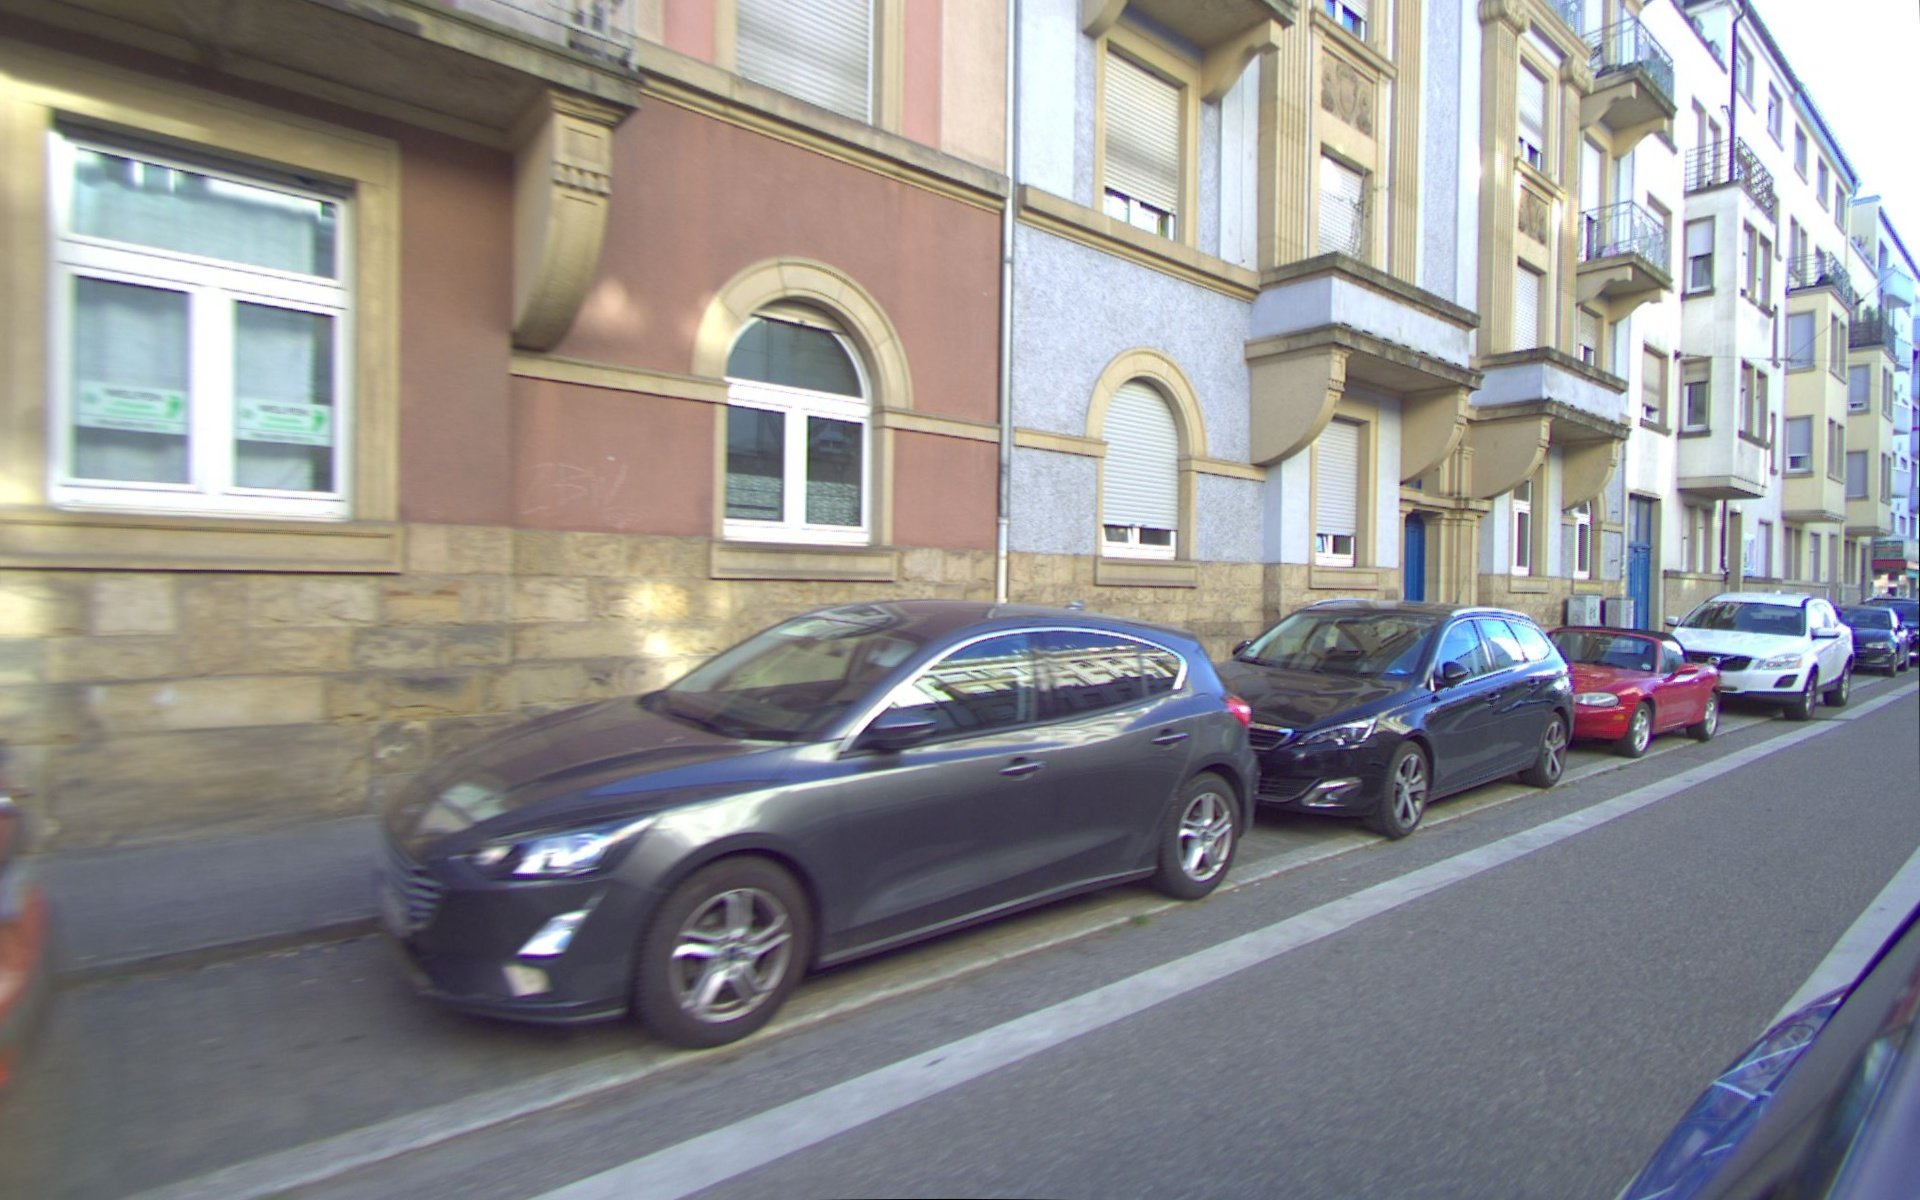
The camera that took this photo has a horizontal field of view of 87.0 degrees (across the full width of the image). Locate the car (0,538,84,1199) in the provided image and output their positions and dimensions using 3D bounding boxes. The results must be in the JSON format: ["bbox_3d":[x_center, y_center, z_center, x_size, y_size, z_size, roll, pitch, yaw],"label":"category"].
[{"bbox_3d":[-3.864,0.674,1.607,3.662,1.614,1.757,0,1,-39],"label":"car"}]

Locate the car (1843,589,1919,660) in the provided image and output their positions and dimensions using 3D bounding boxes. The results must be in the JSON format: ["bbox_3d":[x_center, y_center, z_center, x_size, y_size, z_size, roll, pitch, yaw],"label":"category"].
[{"bbox_3d":[24.365,0.574,26.078,4.482,1.686,1.862,0,1,-42],"label":"car"}]

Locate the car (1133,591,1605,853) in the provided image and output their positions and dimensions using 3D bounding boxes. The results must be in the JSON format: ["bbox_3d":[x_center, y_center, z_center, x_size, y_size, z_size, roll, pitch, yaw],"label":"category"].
[{"bbox_3d":[3.408,0.688,7.955,4.397,1.502,1.657,0,1,-41],"label":"car"}]

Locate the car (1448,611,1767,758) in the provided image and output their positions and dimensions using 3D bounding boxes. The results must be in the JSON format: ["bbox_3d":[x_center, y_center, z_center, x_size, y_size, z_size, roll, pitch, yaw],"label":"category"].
[{"bbox_3d":[7.415,0.809,11.422,4.422,1.264,1.659,0,1,-38],"label":"car"}]

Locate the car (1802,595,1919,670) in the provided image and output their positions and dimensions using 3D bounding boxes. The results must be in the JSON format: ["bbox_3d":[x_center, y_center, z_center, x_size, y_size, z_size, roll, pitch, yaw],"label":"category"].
[{"bbox_3d":[19.915,0.629,22.183,3.964,1.460,1.739,0,1,-43],"label":"car"}]

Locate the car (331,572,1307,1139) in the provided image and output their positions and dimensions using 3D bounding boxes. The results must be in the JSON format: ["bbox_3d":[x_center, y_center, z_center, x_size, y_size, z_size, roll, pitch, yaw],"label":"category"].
[{"bbox_3d":[-0.290,0.662,4.795,4.395,1.532,1.657,0,1,-40],"label":"car"}]

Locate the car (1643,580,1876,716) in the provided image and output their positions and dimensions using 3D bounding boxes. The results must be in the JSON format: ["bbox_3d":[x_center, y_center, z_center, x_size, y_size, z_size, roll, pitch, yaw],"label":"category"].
[{"bbox_3d":[11.885,0.579,14.938,4.425,1.712,1.847,0,1,-40],"label":"car"}]

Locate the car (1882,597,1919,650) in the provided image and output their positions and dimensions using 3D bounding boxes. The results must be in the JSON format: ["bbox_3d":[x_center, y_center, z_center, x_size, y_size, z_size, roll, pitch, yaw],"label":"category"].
[{"bbox_3d":[29.129,0.677,30.082,4.625,1.474,1.863,0,1,-39],"label":"car"}]
